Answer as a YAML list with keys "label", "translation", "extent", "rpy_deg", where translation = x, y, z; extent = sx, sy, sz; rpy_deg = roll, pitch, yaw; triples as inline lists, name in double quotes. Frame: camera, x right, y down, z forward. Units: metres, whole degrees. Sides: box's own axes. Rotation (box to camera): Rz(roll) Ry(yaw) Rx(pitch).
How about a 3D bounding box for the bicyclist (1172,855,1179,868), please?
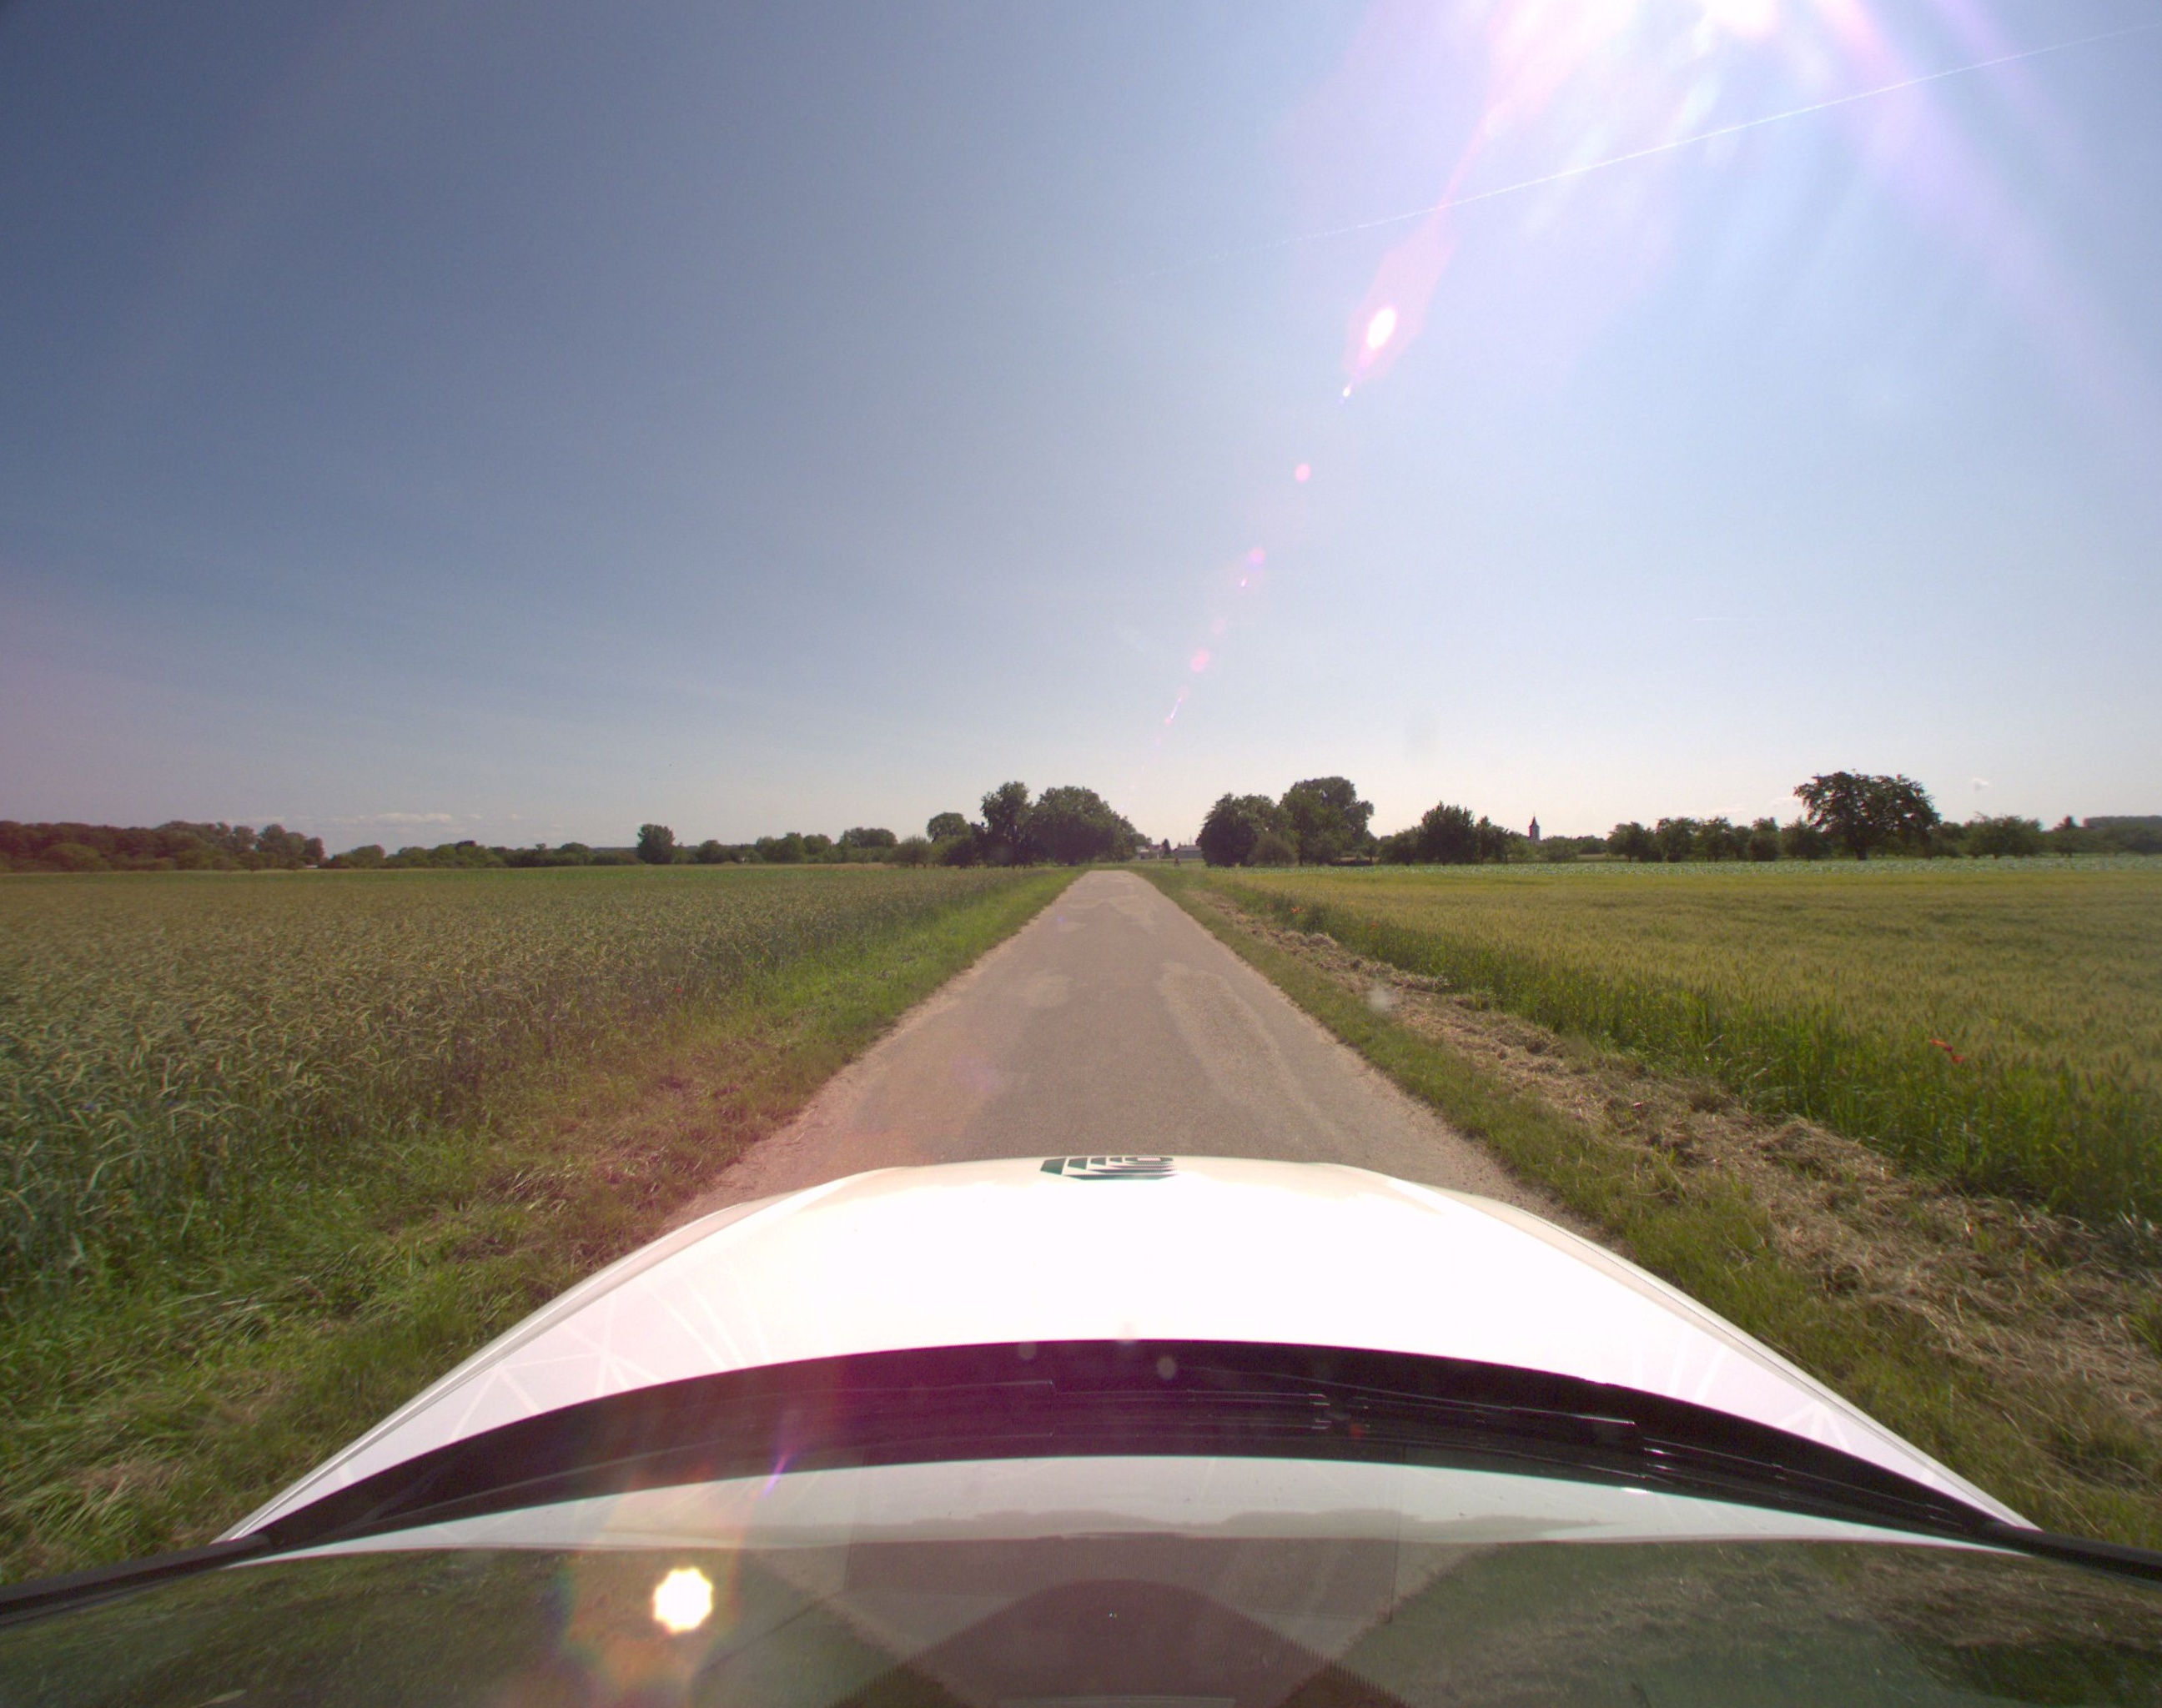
- label: "bicyclist"
  translation: [13.450, 1.009, 116.008]
  extent: [0.743, 1.791, 0.721]
  rpy_deg: [-3, -1, 28]

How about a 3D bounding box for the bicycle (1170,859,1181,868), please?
- label: "bicycle"
  translation: [13.459, 1.340, 115.999]
  extent: [0.743, 1.127, 1.920]
  rpy_deg: [-3, -1, 28]
